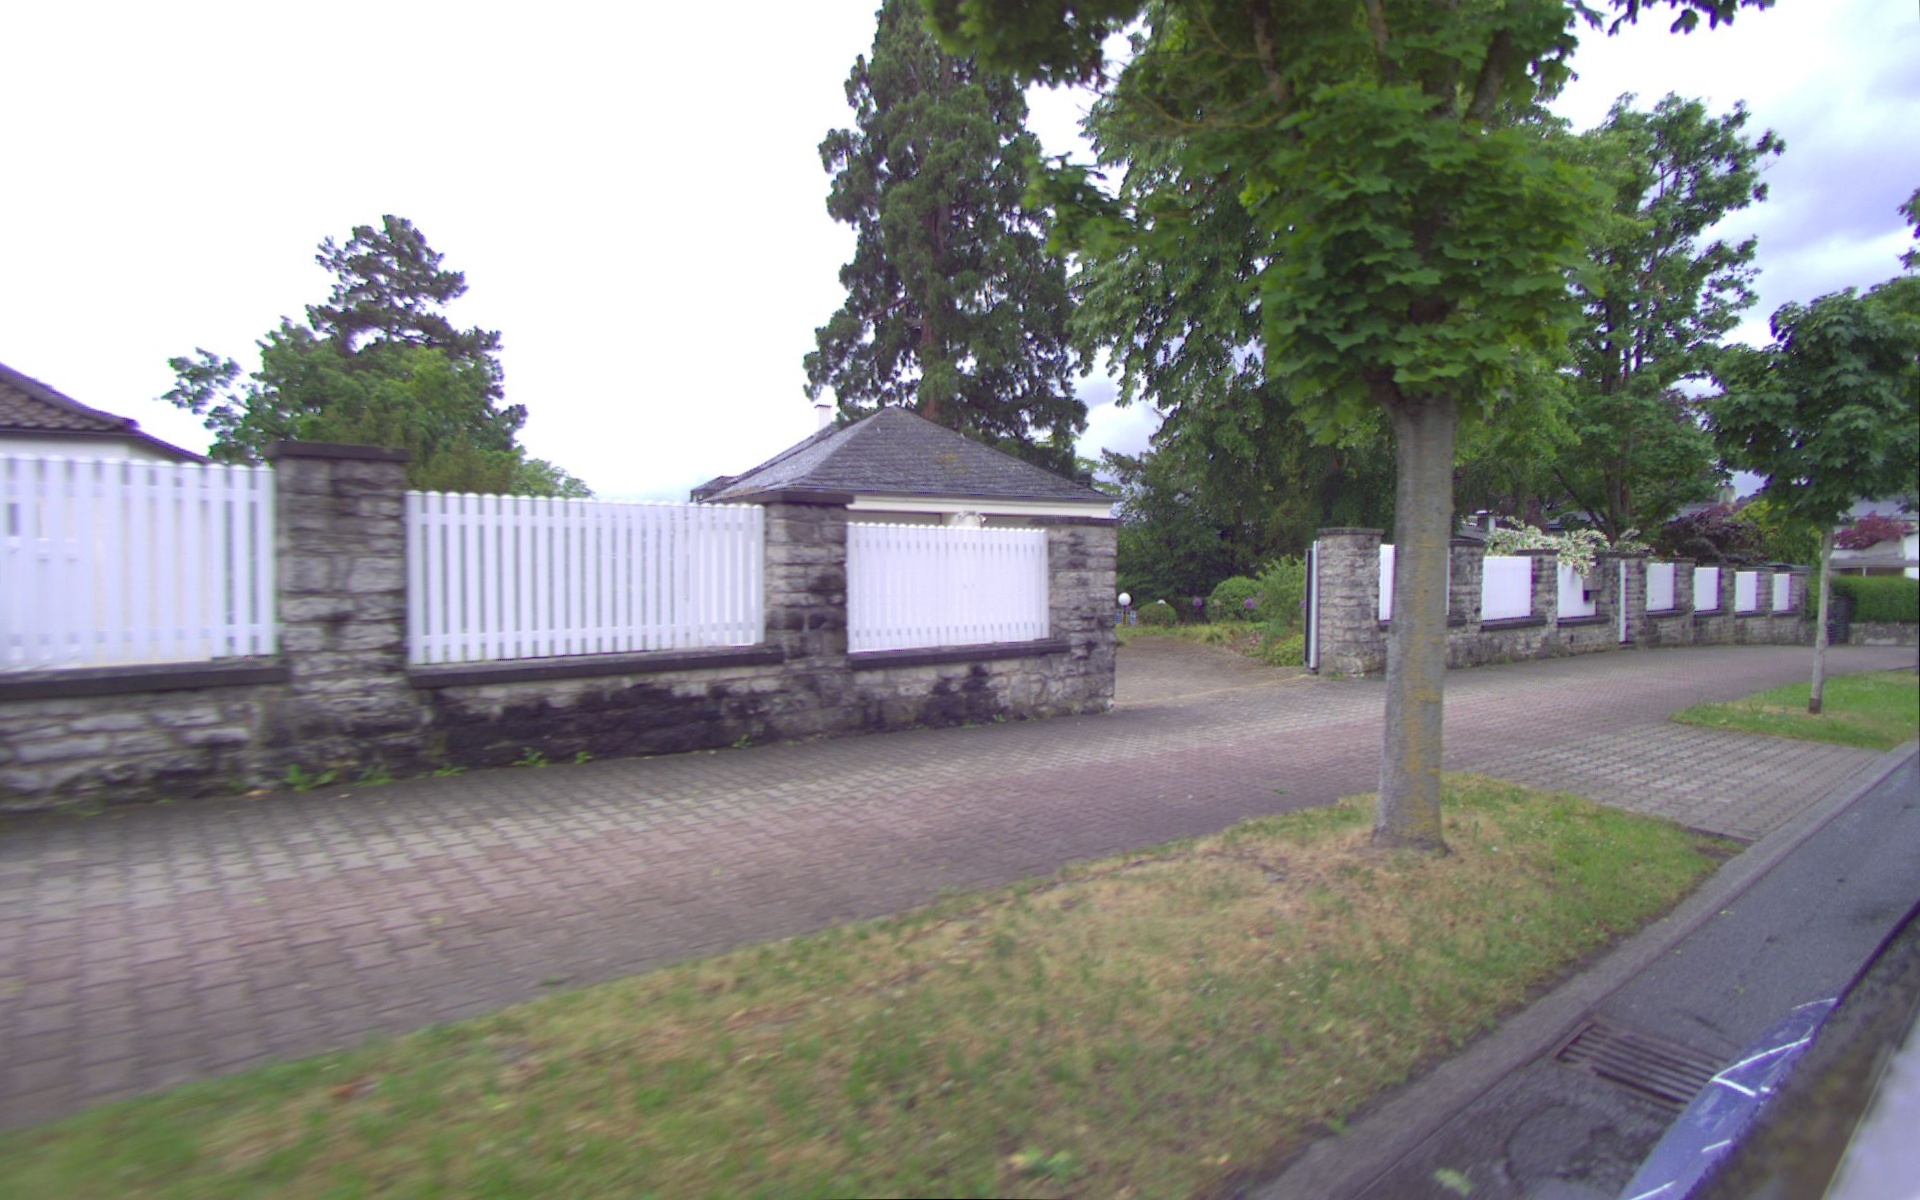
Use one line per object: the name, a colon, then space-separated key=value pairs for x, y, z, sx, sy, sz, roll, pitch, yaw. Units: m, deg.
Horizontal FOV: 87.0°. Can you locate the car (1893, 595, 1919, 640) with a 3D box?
car: x=40.400 y=0.741 z=41.627 sx=4.846 sy=1.779 sz=1.801 roll=1 pitch=1 yaw=-33
